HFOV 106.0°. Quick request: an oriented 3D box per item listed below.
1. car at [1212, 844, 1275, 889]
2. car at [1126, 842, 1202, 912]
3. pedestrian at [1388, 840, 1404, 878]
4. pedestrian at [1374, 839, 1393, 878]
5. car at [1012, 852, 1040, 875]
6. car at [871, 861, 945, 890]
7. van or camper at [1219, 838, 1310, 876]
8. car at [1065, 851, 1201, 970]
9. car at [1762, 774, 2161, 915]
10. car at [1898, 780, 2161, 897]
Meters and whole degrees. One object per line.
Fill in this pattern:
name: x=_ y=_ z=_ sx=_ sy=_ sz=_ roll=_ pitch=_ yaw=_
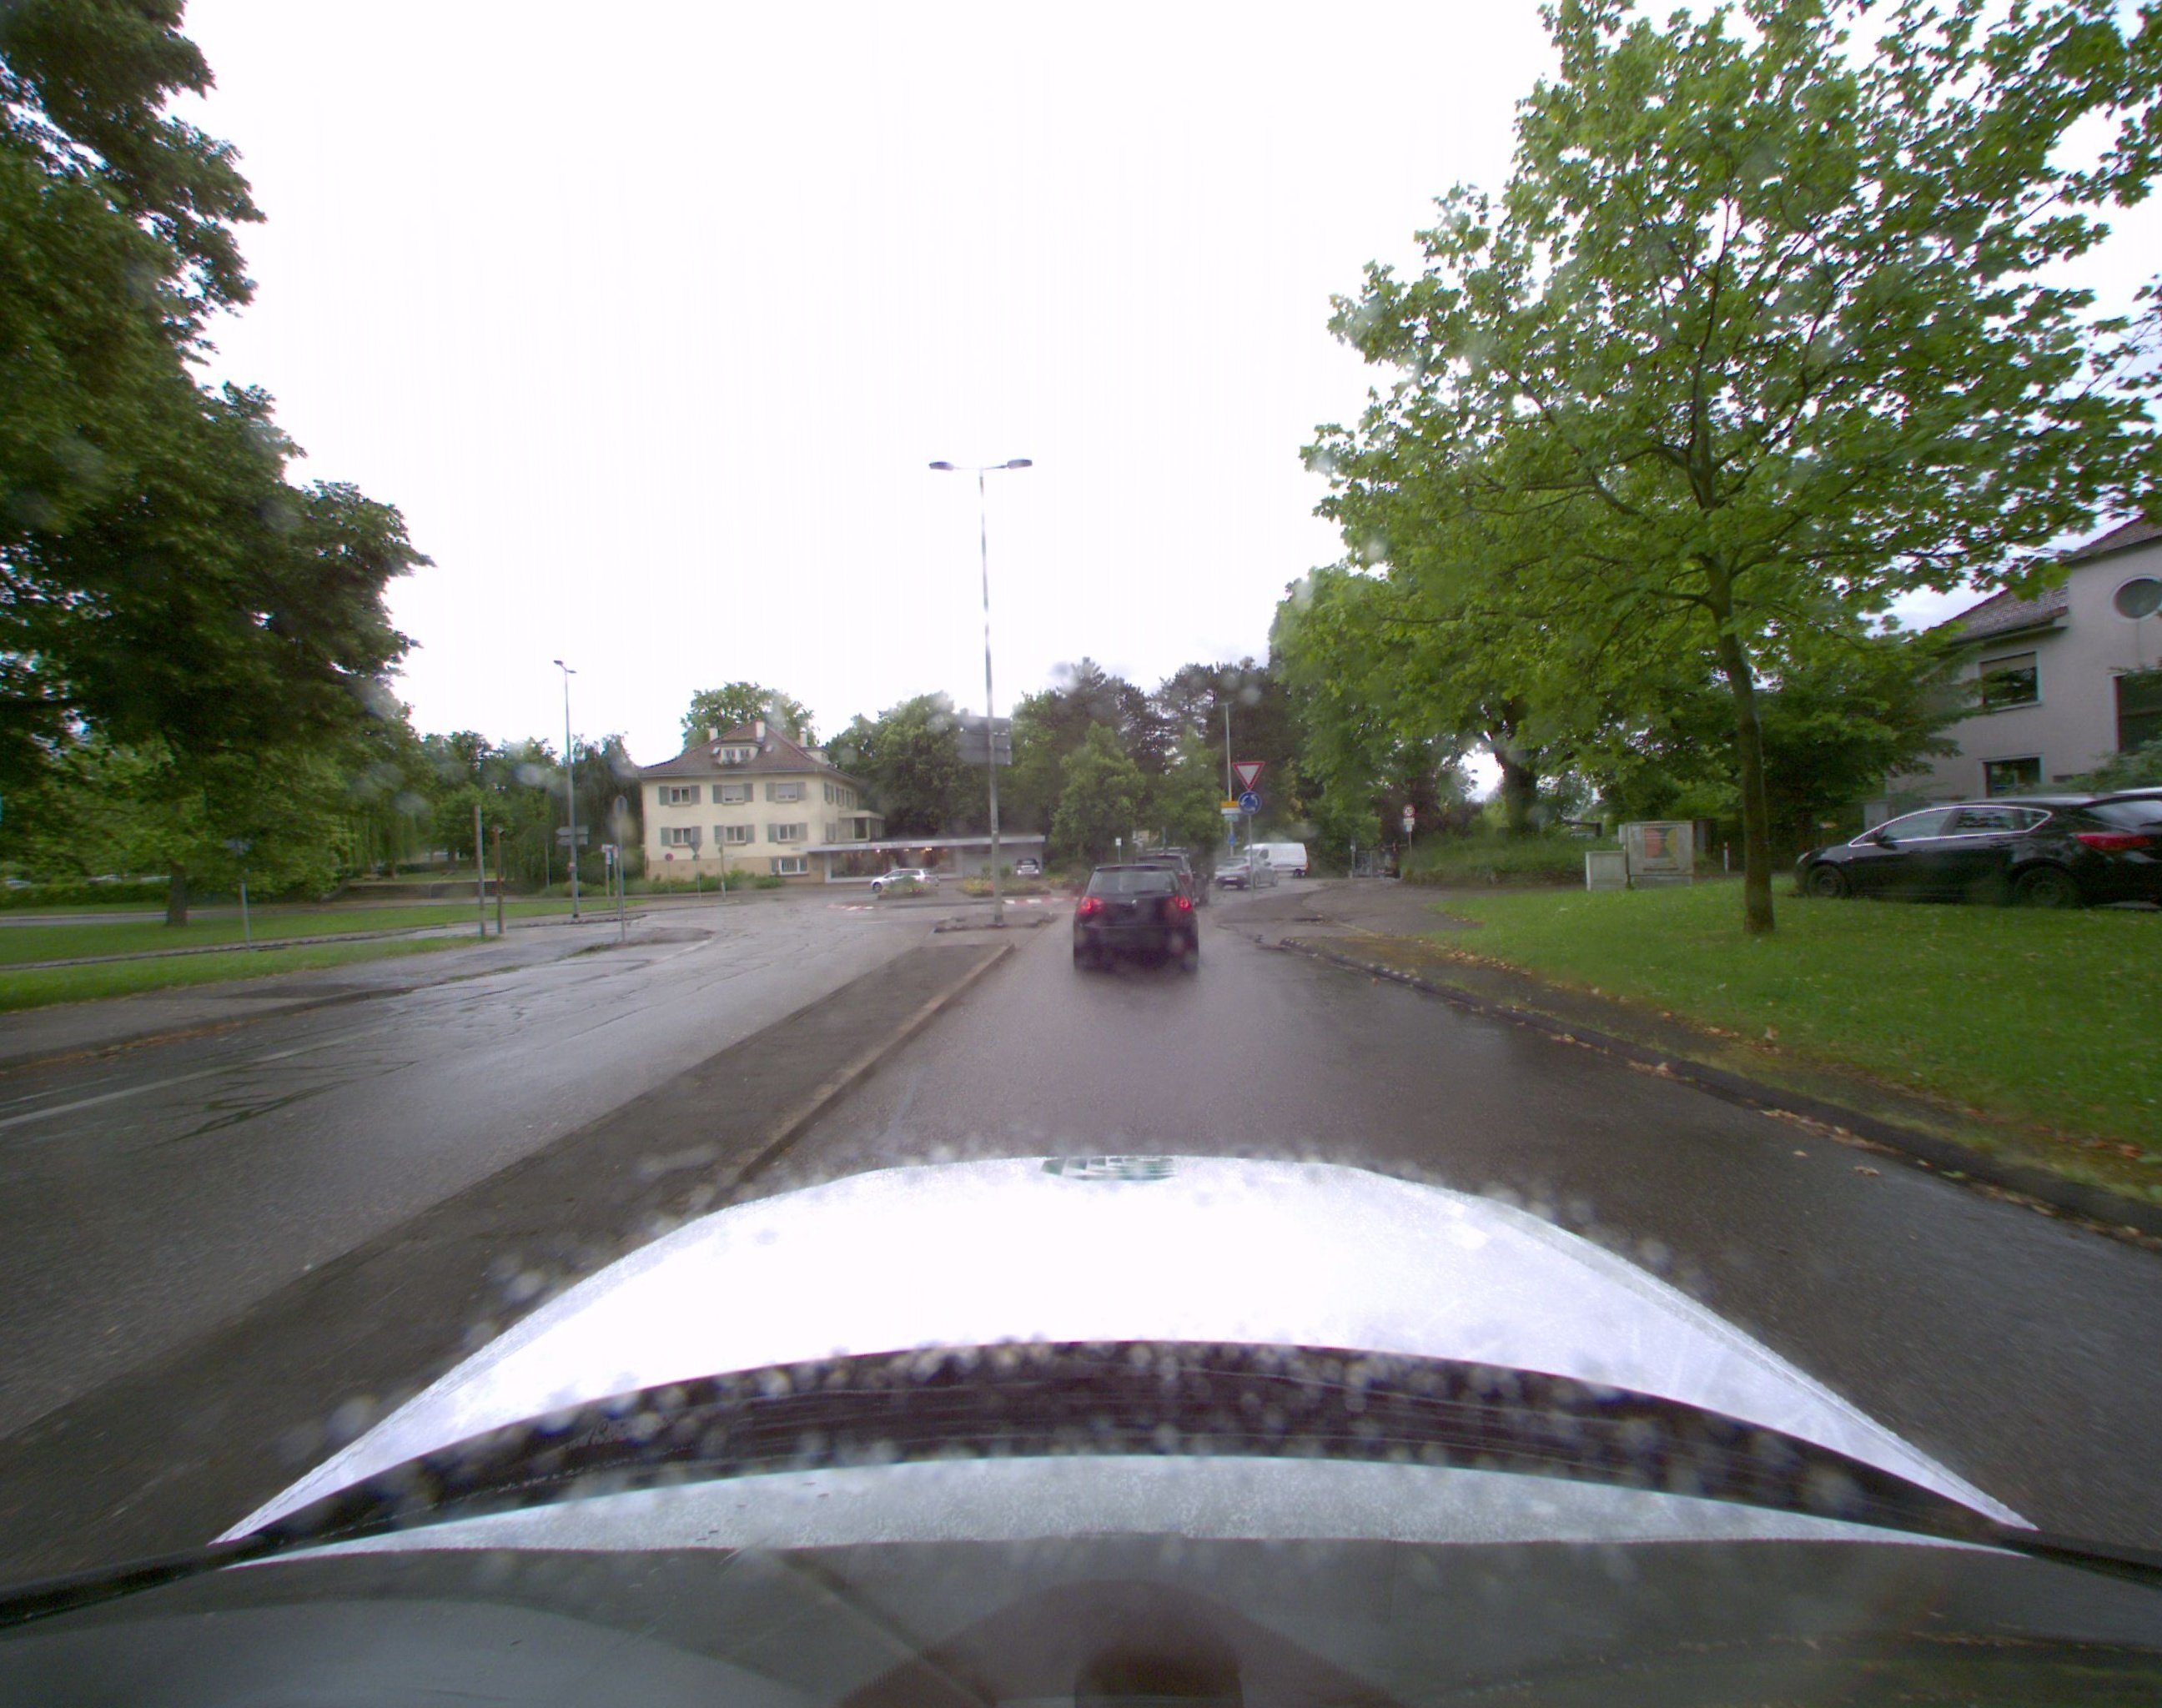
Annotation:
car: x=7.261 y=0.497 z=36.074 sx=1.749 sy=1.801 sz=4.270 roll=-4 pitch=-1 yaw=24
car: x=2.373 y=0.644 z=24.271 sx=1.759 sy=1.801 sz=4.245 roll=-3 pitch=-1 yaw=0
pedestrian: x=14.510 y=0.239 z=37.531 sx=0.629 sy=1.713 sz=0.532 roll=-1 pitch=-1 yaw=17
pedestrian: x=13.633 y=0.203 z=36.737 sx=0.529 sy=1.713 sz=0.633 roll=-1 pitch=-1 yaw=-13
car: x=-4.031 y=0.694 z=59.416 sx=1.810 sy=1.486 sz=3.823 roll=-3 pitch=0 yaw=-6
car: x=-10.861 y=1.347 z=51.142 sx=4.095 sy=1.741 sz=2.010 roll=-1 pitch=-1 yaw=20
van or camper: x=11.893 y=0.197 z=52.696 sx=5.682 sy=2.378 sz=2.181 roll=0 pitch=-1 yaw=-28
car: x=0.942 y=0.746 z=12.601 sx=1.755 sy=1.538 sz=4.009 roll=-1 pitch=0 yaw=8
car: x=12.024 y=-0.121 z=10.966 sx=1.759 sy=1.471 sz=4.597 roll=-4 pitch=-1 yaw=0
car: x=14.474 y=-0.232 z=11.234 sx=1.840 sy=1.471 sz=4.423 roll=-3 pitch=-1 yaw=-1
